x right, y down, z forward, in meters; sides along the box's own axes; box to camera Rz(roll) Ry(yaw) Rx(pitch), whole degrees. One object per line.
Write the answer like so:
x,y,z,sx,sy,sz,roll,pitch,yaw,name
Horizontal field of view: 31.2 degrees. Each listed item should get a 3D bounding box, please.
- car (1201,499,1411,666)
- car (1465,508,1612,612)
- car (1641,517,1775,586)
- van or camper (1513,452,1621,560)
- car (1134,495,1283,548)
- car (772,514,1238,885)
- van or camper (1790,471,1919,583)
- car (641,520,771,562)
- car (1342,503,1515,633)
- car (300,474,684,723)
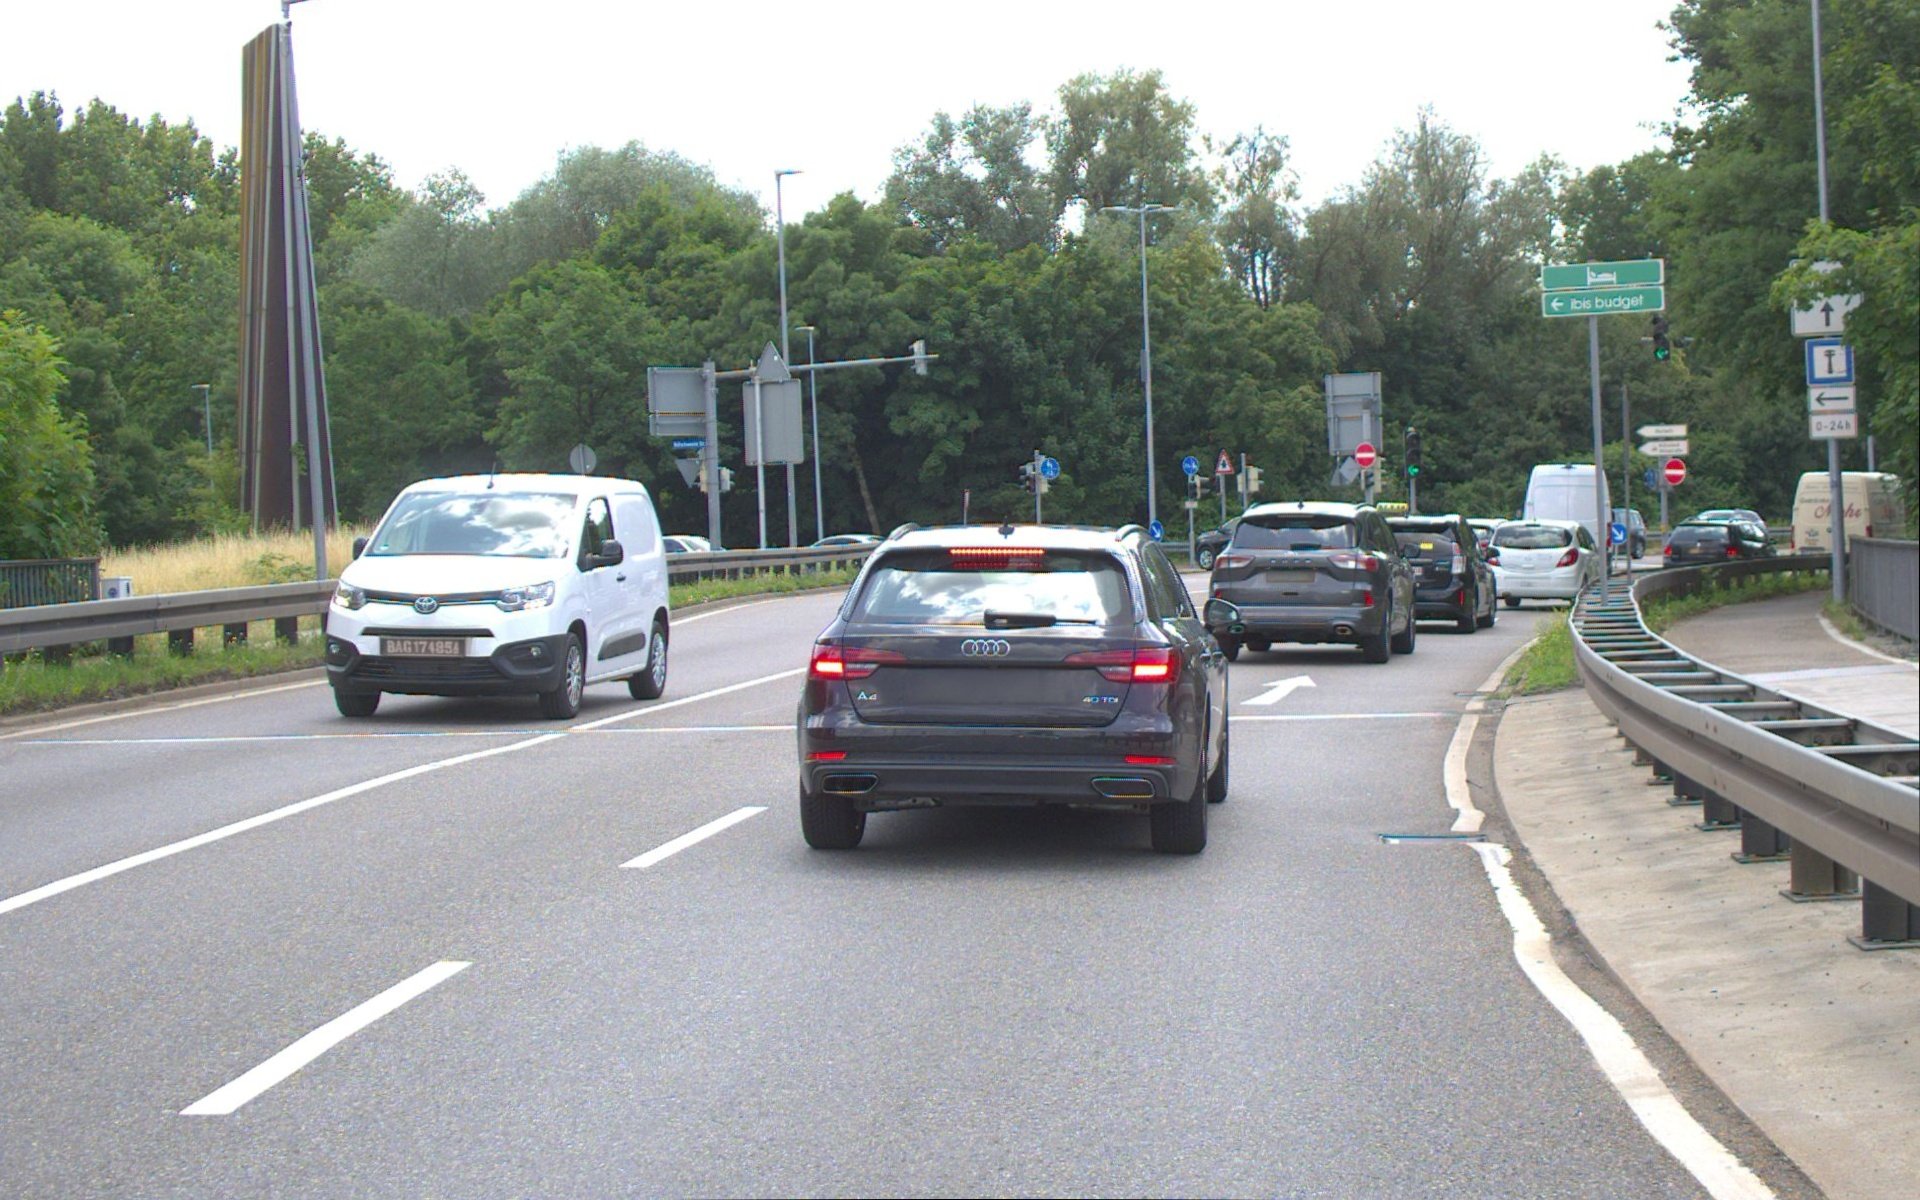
3.690,-0.229,36.171,1.822,1.646,3.854,1,2,11,car
9.567,-0.669,56.636,1.735,1.646,3.852,1,1,20,car
15.416,-1.010,70.735,1.686,1.393,3.673,0,1,30,car
13.739,-2.093,77.839,2.273,2.332,5.239,1,1,10,van or camper
6.947,-2.208,96.216,3.804,1.367,1.670,2,3,25,car
0.346,0.353,16.245,1.828,1.486,4.206,0,2,6,car
21.541,-1.774,82.409,1.997,2.581,4.083,2,3,31,van or camper
-7.083,-1.649,95.673,3.587,1.113,1.590,2,2,43,car
6.261,-0.459,45.640,1.735,1.646,3.853,0,2,16,car
-3.495,-0.069,26.478,1.814,1.748,4.304,1,1,8,car
